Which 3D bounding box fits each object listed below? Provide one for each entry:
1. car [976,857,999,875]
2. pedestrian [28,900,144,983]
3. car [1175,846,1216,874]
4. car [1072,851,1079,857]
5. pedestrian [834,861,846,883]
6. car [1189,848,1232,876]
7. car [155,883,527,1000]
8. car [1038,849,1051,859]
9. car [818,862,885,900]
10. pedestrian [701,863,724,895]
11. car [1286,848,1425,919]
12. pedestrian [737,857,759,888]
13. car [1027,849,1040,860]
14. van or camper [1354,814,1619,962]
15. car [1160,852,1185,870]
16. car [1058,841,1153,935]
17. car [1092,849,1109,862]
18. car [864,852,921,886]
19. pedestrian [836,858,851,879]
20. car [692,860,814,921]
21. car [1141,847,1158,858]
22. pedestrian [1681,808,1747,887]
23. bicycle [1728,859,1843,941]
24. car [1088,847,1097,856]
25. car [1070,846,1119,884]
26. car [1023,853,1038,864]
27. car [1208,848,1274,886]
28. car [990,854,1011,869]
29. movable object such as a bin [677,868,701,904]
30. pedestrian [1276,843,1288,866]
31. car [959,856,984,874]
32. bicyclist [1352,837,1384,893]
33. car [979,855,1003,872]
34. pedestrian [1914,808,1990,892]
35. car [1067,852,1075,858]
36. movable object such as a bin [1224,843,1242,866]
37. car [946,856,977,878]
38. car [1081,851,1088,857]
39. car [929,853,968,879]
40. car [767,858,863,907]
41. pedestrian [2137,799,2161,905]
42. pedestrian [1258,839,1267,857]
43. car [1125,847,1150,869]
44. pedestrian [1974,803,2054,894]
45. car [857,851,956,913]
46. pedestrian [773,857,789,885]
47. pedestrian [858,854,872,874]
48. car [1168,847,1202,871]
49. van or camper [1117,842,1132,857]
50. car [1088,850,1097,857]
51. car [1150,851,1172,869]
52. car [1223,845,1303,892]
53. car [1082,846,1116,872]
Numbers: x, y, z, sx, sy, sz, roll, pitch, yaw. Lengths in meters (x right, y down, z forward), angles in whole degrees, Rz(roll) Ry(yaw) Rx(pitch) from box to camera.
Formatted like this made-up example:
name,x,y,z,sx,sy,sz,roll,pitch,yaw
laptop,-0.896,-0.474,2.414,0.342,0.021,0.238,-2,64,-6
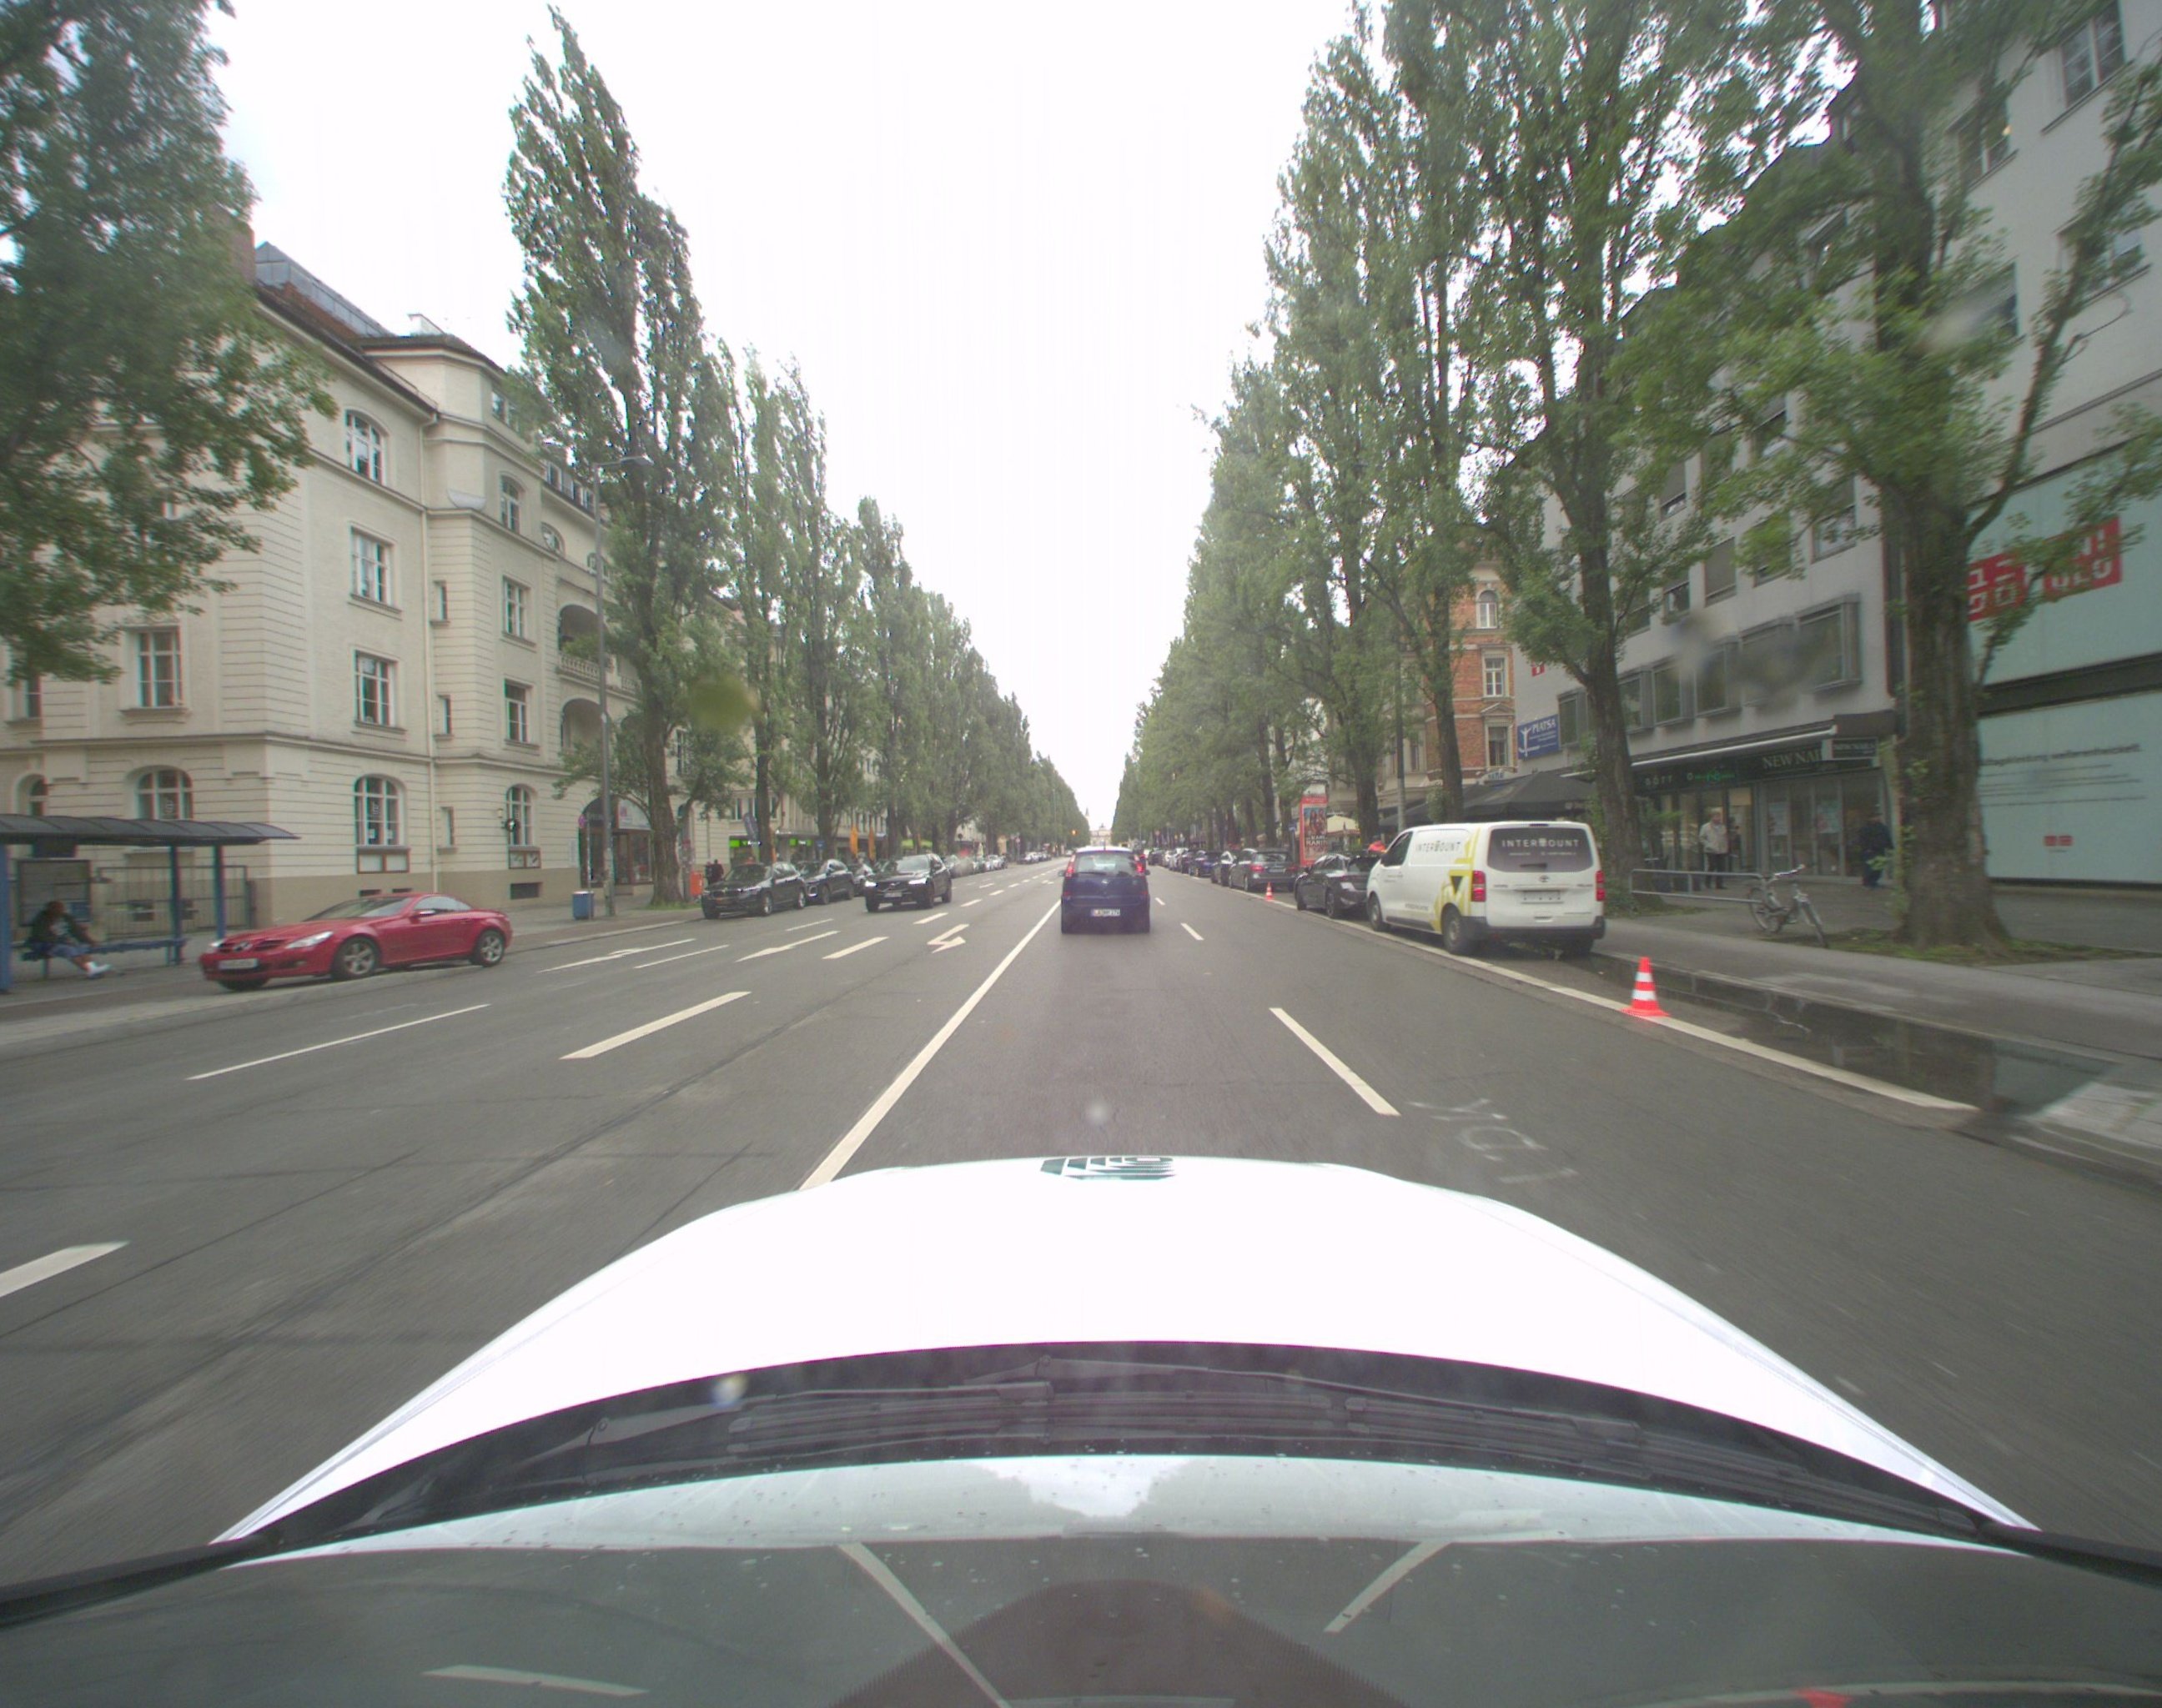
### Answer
name,x,y,z,sx,sy,sz,roll,pitch,yaw
car,-8.719,1.102,76.304,1.566,1.534,2.925,-2,0,4
pedestrian,-16.281,1.415,13.346,0.957,1.256,0.757,-1,0,3
car,7.188,0.357,51.382,1.987,1.565,4.484,-2,0,1
car,-1.498,0.019,226.237,1.828,1.739,3.779,-2,0,1
pedestrian,-18.682,1.383,63.133,0.622,1.721,0.828,-2,0,4
car,7.070,0.428,44.720,1.743,1.405,4.466,-2,0,2
car,-11.055,1.221,12.667,1.871,1.298,4.098,-2,0,3
car,-6.799,-0.005,152.216,1.987,1.662,4.000,-2,0,1
car,-10.061,1.143,36.068,1.680,1.424,4.685,-4,0,-2
pedestrian,-18.548,1.251,40.989,0.766,1.537,0.805,0,0,1
car,6.094,0.584,18.645,1.714,1.442,4.353,0,0,0
pedestrian,-18.014,0.990,44.123,0.731,1.673,0.953,-2,0,1
car,-7.233,0.052,123.715,1.648,1.561,3.458,-2,0,1
van or camper,6.096,0.437,13.044,1.862,1.883,4.904,-1,0,1
car,7.508,0.556,67.166,1.664,1.406,4.128,0,0,1
car,0.462,0.598,16.586,1.675,1.641,4.000,-1,0,1
car,2.319,0.139,97.361,1.987,1.497,4.000,-2,0,1
car,-9.547,0.736,41.502,1.775,1.575,4.134,-2,0,1
pedestrian,-20.536,1.220,70.360,0.848,1.744,1.148,-2,0,2
car,-10.251,1.067,25.875,1.813,1.618,4.717,-2,0,2
car,8.728,-0.163,104.283,1.890,1.362,3.901,-2,0,2
pedestrian,15.424,-0.159,19.870,0.821,1.841,1.103,-2,0,12
bicycle,9.912,0.615,11.527,0.362,1.038,1.735,-2,0,9
car,2.491,-0.515,178.897,1.828,1.761,3.779,-2,0,1
car,0.594,0.436,35.983,1.987,1.497,4.000,-2,0,1
car,-6.973,0.570,112.846,1.824,1.420,3.812,-1,0,1
car,6.669,0.489,34.435,1.872,1.432,4.804,-2,0,0
car,-8.382,0.786,85.414,1.579,1.447,3.394,-2,0,4
movable object such as a bin,-15.045,1.230,31.279,0.602,1.316,0.586,-2,0,2
pedestrian,15.771,0.019,63.965,0.726,1.802,0.932,-2,0,2
car,-9.194,0.940,68.715,1.626,1.428,2.983,-2,0,0
bicyclist,8.276,0.313,23.494,0.619,1.588,0.753,-2,0,1
car,-8.814,0.869,80.190,1.829,1.546,4.085,-2,0,-1
pedestrian,17.126,-0.070,16.034,0.666,1.609,0.773,-1,0,8
car,-2.889,0.182,232.544,1.955,1.549,3.779,-2,0,1
movable object such as a bin,11.778,0.064,63.148,1.030,1.703,1.585,-2,0,-2
car,-9.249,1.003,63.228,1.692,1.550,4.082,-2,0,0
car,0.946,-0.032,224.236,1.828,1.677,3.779,-2,0,1
car,-9.470,0.821,58.432,1.858,1.654,4.615,-4,0,0
car,-9.974,1.028,30.981,1.795,1.594,4.635,-3,0,4
pedestrian,16.677,-0.039,12.176,0.668,1.609,0.828,-2,0,-1
pedestrian,17.223,-0.579,77.369,0.652,1.626,0.704,-2,0,-1
car,4.179,0.286,60.827,1.700,1.574,4.001,-2,0,1
pedestrian,17.169,-0.103,15.000,0.667,1.609,0.684,-2,0,2
car,-5.251,0.785,25.068,1.928,1.623,4.337,-4,0,1
pedestrian,-19.163,1.081,51.971,0.623,1.721,0.827,-2,0,0
pedestrian,-19.136,0.877,72.082,0.848,1.744,1.148,-2,0,2
car,7.228,0.319,56.980,1.821,1.621,4.748,-1,0,1
van or camper,7.963,-0.816,149.591,2.467,2.581,5.847,-2,0,2
car,2.396,-0.196,171.830,1.955,1.399,3.779,-2,0,1
car,7.521,0.564,77.170,1.791,1.594,4.106,0,0,2
car,6.478,0.470,29.482,1.812,1.506,4.229,-2,0,-2
car,1.085,0.271,50.689,1.987,1.497,4.000,-2,0,1
